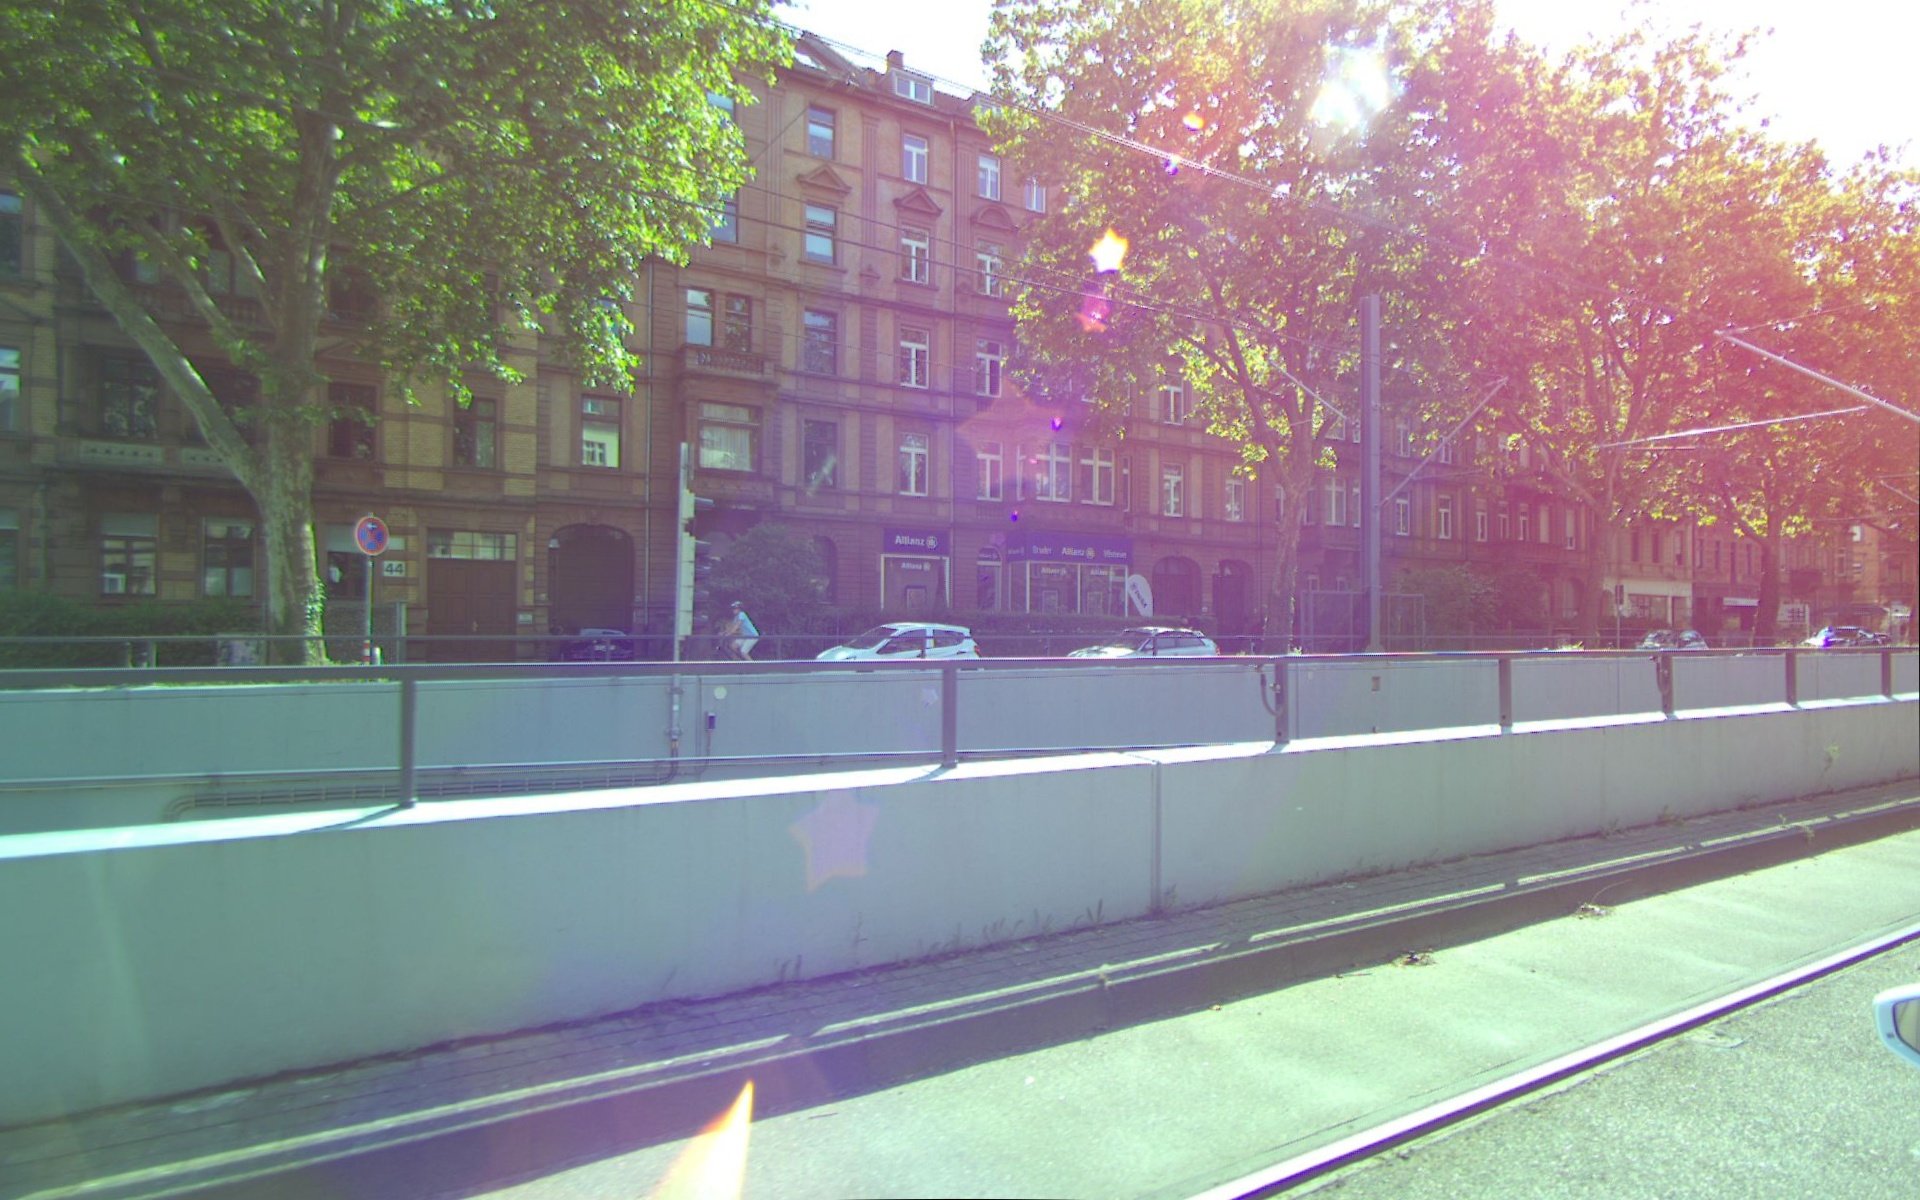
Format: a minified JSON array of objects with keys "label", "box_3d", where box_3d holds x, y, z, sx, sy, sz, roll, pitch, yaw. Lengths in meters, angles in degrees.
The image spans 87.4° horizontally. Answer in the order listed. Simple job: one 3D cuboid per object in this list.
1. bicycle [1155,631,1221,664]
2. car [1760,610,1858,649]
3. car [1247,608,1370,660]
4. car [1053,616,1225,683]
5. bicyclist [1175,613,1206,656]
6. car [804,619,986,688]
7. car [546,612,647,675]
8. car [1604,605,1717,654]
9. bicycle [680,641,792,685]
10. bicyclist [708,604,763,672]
[{"label":"bicycle","box_3d":[6.751,1.391,29.654,2.123,0.925,0.532,1,-1,-30]},{"label":"car","box_3d":[38.147,1.334,45.119,3.950,1.658,1.986,1,-4,-28]},{"label":"car","box_3d":[13.647,1.306,39.614,1.977,1.943,4.379,1,-1,-31]},{"label":"car","box_3d":[4.318,1.178,24.142,3.955,1.501,1.635,1,-4,-31]},{"label":"bicyclist","box_3d":[6.824,1.016,29.701,0.715,1.248,0.532,1,-1,-30]},{"label":"car","box_3d":[-1.330,1.088,20.781,3.447,1.320,1.492,1,-4,-28]},{"label":"car","box_3d":[-9.542,1.092,26.174,1.975,1.503,3.972,1,-1,-27]},{"label":"car","box_3d":[25.845,1.080,37.047,3.677,1.713,1.714,0,-3,-24]},{"label":"bicycle","box_3d":[-4.938,1.374,22.210,2.340,0.925,0.668,1,-1,-30]},{"label":"bicyclist","box_3d":[-4.963,0.830,22.197,1.032,1.475,0.685,1,-1,-30]}]
